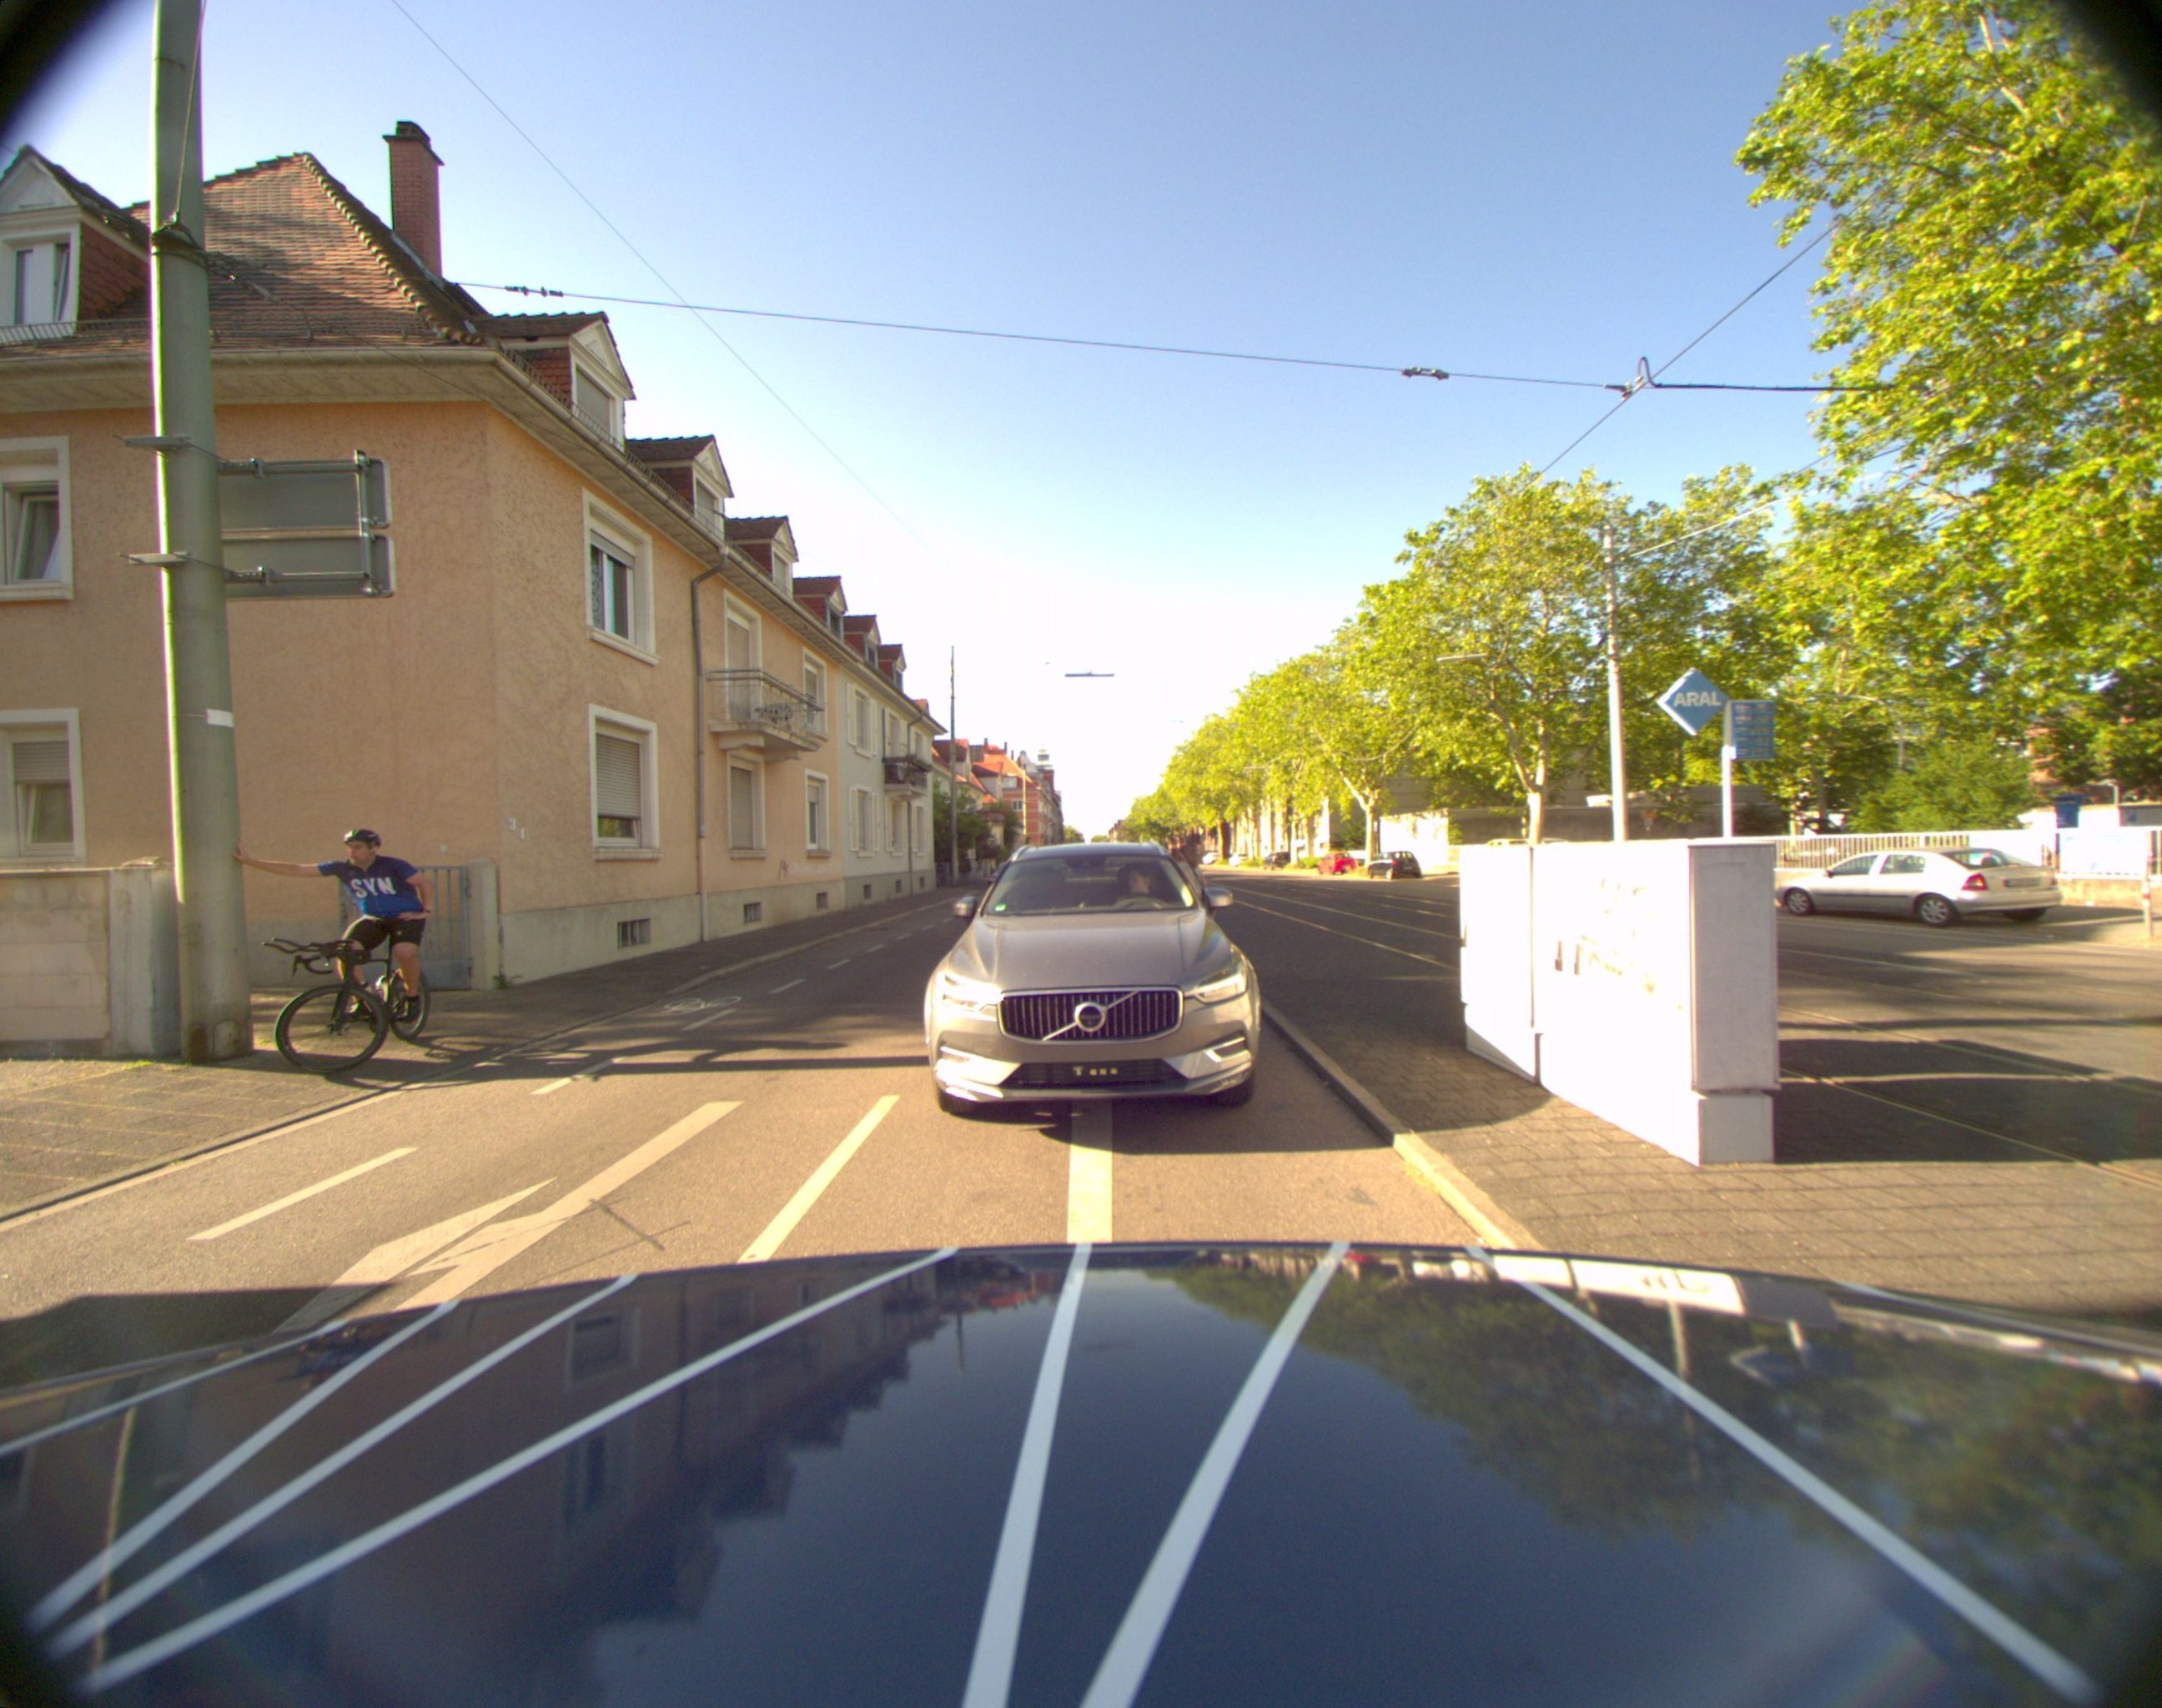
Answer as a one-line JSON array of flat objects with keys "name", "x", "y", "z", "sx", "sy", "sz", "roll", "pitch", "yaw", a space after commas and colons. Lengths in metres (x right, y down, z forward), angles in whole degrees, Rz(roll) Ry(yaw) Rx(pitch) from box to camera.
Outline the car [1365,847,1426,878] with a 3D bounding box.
[{"name": "car", "x": 16.884, "y": 0.417, "z": 40.980, "sx": 1.826, "sy": 1.521, "sz": 3.653, "roll": -2, "pitch": 0, "yaw": 1}]

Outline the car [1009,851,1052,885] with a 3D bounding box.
[{"name": "car", "x": -2.787, "y": 0.710, "z": 42.884, "sx": 1.751, "sy": 1.767, "sz": 5.351, "roll": -1, "pitch": 0, "yaw": 3}]

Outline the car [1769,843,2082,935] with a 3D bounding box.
[{"name": "car", "x": 16.248, "y": 0.593, "z": 14.991, "sx": 1.795, "sy": 1.455, "sz": 3.966, "roll": -4, "pitch": 0, "yaw": 2}]

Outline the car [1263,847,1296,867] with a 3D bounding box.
[{"name": "car", "x": 17.196, "y": 0.279, "z": 66.041, "sx": 1.802, "sy": 1.652, "sz": 4.000, "roll": -1, "pitch": 0, "yaw": 1}]

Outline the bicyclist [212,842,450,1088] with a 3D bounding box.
[{"name": "bicyclist", "x": -6.145, "y": 0.858, "z": 6.290, "sx": 1.076, "sy": 1.854, "sz": 0.846, "roll": 2, "pitch": 1, "yaw": 1}]

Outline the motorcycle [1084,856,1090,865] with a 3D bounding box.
[{"name": "motorcycle", "x": 0.755, "y": 0.826, "z": 97.685, "sx": 0.792, "sy": 1.095, "sz": 2.519, "roll": 0, "pitch": 0, "yaw": 1}]

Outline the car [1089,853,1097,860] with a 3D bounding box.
[{"name": "car", "x": 2.967, "y": 0.674, "z": 187.677, "sx": 1.998, "sy": 1.543, "sz": 4.000, "roll": -1, "pitch": 0, "yaw": 1}]

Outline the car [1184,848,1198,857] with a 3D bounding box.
[{"name": "car", "x": 18.195, "y": -0.230, "z": 125.628, "sx": 1.802, "sy": 1.504, "sz": 4.000, "roll": -1, "pitch": 0, "yaw": 1}]

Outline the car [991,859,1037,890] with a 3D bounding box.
[{"name": "car", "x": -3.209, "y": 0.959, "z": 37.025, "sx": 1.647, "sy": 1.357, "sz": 3.868, "roll": -1, "pitch": 0, "yaw": 4}]

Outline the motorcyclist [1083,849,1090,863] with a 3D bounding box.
[{"name": "motorcyclist", "x": 0.732, "y": 0.255, "z": 97.647, "sx": 0.827, "sy": 1.832, "sz": 1.159, "roll": -2, "pitch": 1, "yaw": 1}]

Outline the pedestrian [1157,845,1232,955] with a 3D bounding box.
[{"name": "pedestrian", "x": 1.801, "y": 0.701, "z": 12.152, "sx": 0.696, "sy": 1.652, "sz": 1.097, "roll": -3, "pitch": 1, "yaw": -20}]

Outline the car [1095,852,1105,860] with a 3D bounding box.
[{"name": "car", "x": 3.687, "y": 0.416, "z": 147.472, "sx": 1.998, "sy": 1.543, "sz": 4.000, "roll": -1, "pitch": 0, "yaw": 1}]

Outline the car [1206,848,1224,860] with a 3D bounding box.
[{"name": "car", "x": 17.733, "y": -0.019, "z": 100.671, "sx": 1.802, "sy": 1.504, "sz": 4.000, "roll": -1, "pitch": 0, "yaw": 1}]

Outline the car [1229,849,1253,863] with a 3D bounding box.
[{"name": "car", "x": 17.547, "y": 0.214, "z": 83.426, "sx": 1.802, "sy": 1.489, "sz": 4.000, "roll": -1, "pitch": 0, "yaw": 1}]

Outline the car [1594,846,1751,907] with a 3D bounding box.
[{"name": "car", "x": 16.433, "y": 0.571, "z": 21.339, "sx": 1.692, "sy": 1.455, "sz": 3.519, "roll": -4, "pitch": 0, "yaw": 2}]

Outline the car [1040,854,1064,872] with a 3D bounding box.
[{"name": "car", "x": -2.560, "y": 0.761, "z": 66.828, "sx": 1.875, "sy": 1.477, "sz": 4.000, "roll": -1, "pitch": 0, "yaw": 1}]

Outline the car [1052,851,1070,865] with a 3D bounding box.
[{"name": "car", "x": -2.203, "y": 0.442, "z": 85.490, "sx": 1.875, "sy": 1.477, "sz": 4.000, "roll": -1, "pitch": 0, "yaw": 1}]

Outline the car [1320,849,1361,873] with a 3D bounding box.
[{"name": "car", "x": 16.944, "y": 0.429, "z": 49.749, "sx": 1.641, "sy": 1.499, "sz": 3.046, "roll": -1, "pitch": 0, "yaw": 1}]

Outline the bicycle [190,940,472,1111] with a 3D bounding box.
[{"name": "bicycle", "x": -5.940, "y": 1.299, "z": 6.175, "sx": 0.572, "sy": 0.986, "sz": 1.698, "roll": 2, "pitch": 0, "yaw": 1}]

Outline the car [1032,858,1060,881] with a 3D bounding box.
[{"name": "car", "x": -2.465, "y": 1.079, "z": 54.438, "sx": 1.785, "sy": 1.468, "sz": 4.000, "roll": -1, "pitch": 0, "yaw": 1}]

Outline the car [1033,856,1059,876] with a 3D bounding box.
[{"name": "car", "x": -2.750, "y": 0.939, "z": 60.675, "sx": 1.785, "sy": 1.468, "sz": 4.000, "roll": -1, "pitch": 0, "yaw": 1}]

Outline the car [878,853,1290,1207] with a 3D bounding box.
[{"name": "car", "x": 0.044, "y": 0.847, "z": 5.801, "sx": 1.940, "sy": 1.650, "sz": 4.321, "roll": -1, "pitch": 0, "yaw": 1}]

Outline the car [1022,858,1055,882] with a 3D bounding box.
[{"name": "car", "x": -2.682, "y": 0.985, "z": 48.303, "sx": 1.785, "sy": 1.346, "sz": 4.000, "roll": -1, "pitch": 0, "yaw": 1}]
